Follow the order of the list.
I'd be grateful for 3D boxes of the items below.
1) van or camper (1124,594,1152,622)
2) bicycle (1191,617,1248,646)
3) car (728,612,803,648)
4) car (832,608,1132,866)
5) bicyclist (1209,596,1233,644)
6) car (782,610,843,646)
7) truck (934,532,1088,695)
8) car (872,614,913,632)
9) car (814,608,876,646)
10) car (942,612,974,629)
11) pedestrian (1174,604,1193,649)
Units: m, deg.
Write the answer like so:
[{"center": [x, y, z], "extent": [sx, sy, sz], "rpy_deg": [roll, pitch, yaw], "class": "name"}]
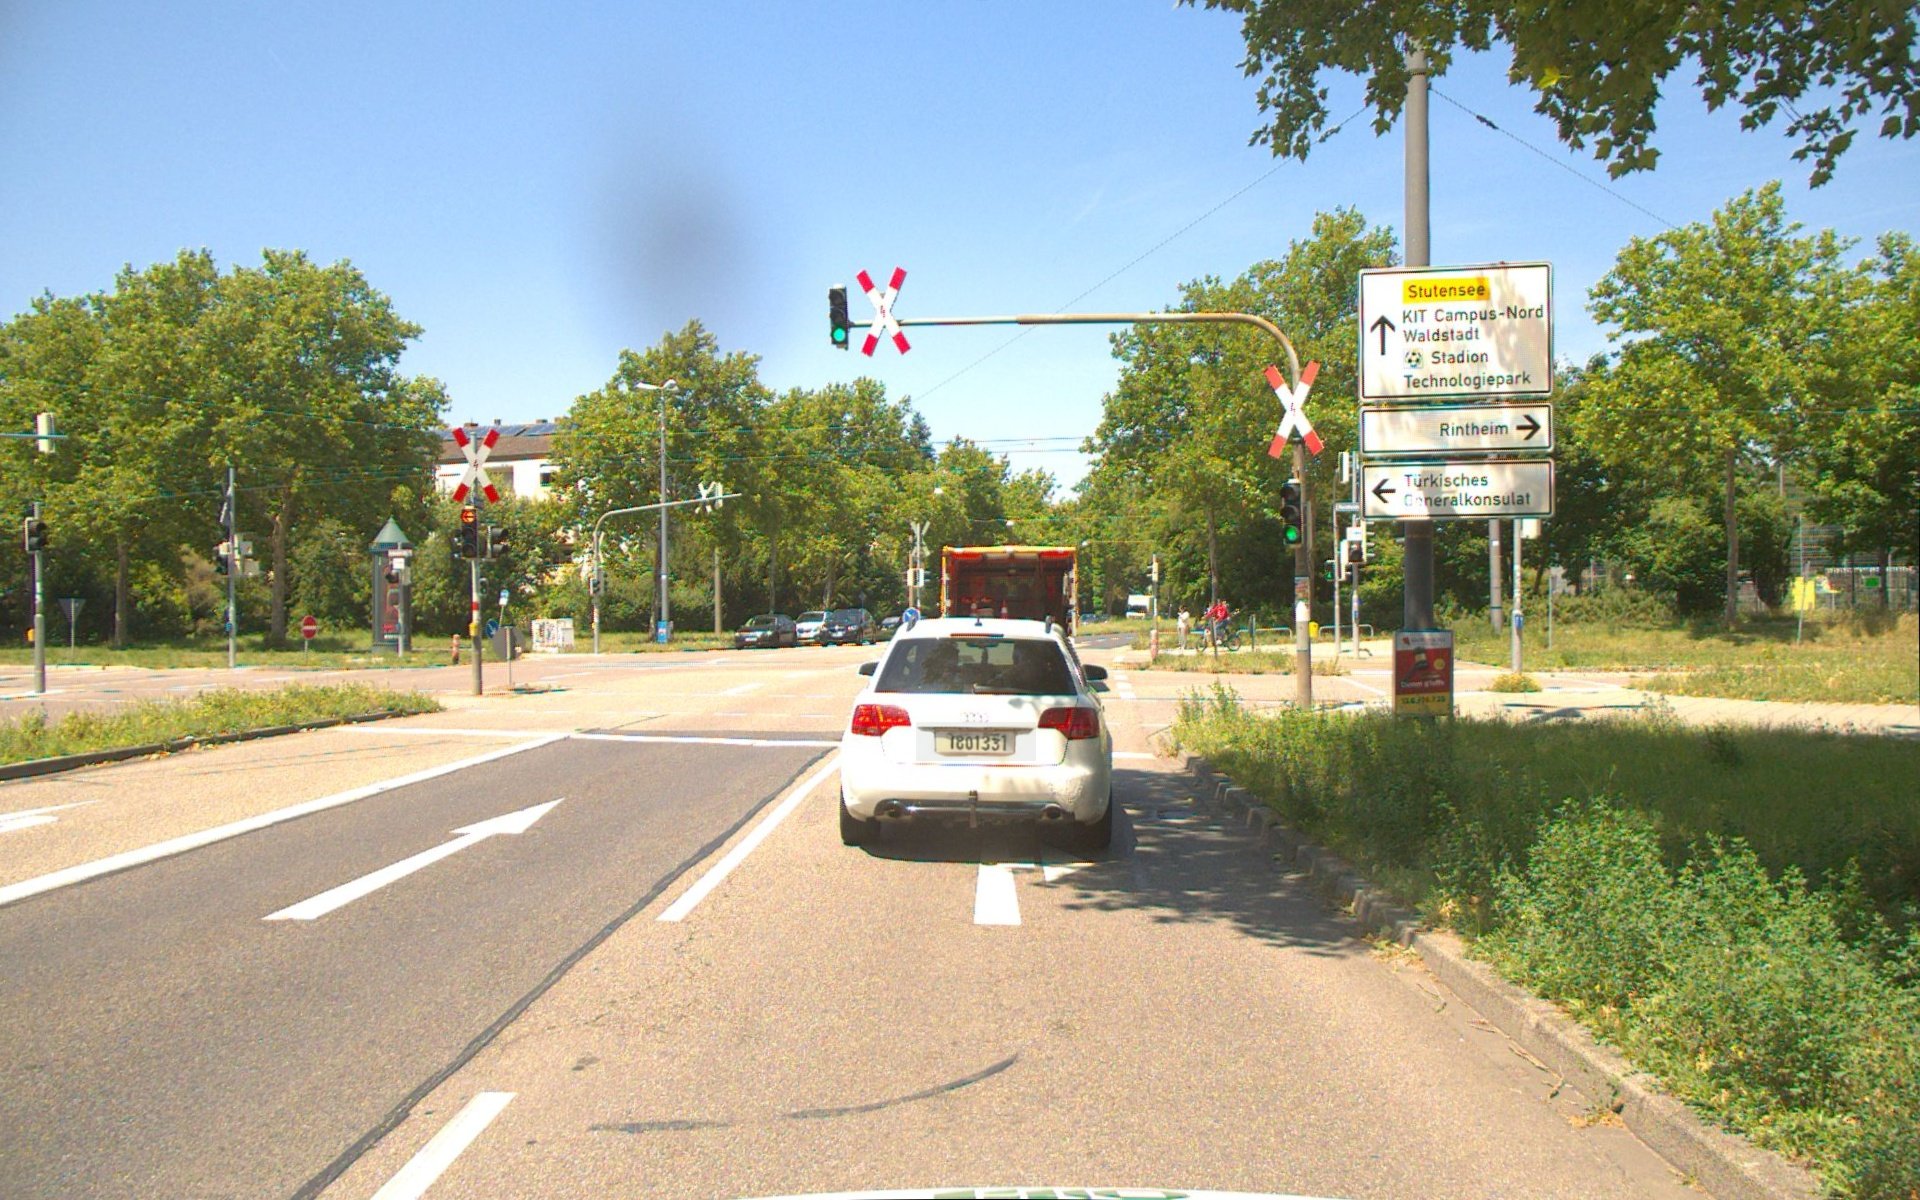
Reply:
[{"center": [21.410, 0.972, 198.953], "extent": [2.604, 3.390, 5.504], "rpy_deg": [-1, -1, 13], "class": "van or camper"}, {"center": [8.576, 1.048, 54.667], "extent": [1.769, 0.911, 0.588], "rpy_deg": [-1, -1, -2], "class": "bicycle"}, {"center": [-8.453, 1.301, 72.302], "extent": [1.907, 1.465, 4.750], "rpy_deg": [0, 0, 11], "class": "car"}, {"center": [0.214, 0.795, 11.354], "extent": [1.726, 1.471, 3.617], "rpy_deg": [0, 0, 3], "class": "car"}, {"center": [8.635, 0.663, 54.675], "extent": [0.658, 1.583, 0.579], "rpy_deg": [-1, -1, -3], "class": "bicyclist"}, {"center": [-7.028, 1.338, 79.319], "extent": [1.749, 1.643, 4.408], "rpy_deg": [-1, 0, 11], "class": "car"}, {"center": [0.887, 0.262, 30.599], "extent": [2.459, 2.604, 7.603], "rpy_deg": [1, -1, 1], "class": "truck"}, {"center": [-5.603, 1.903, 137.693], "extent": [1.844, 1.417, 3.997], "rpy_deg": [-1, -1, 25], "class": "car"}, {"center": [-5.027, 1.178, 72.747], "extent": [1.868, 1.566, 4.302], "rpy_deg": [-1, 0, 7], "class": "car"}, {"center": [-0.157, 1.917, 152.611], "extent": [1.842, 1.500, 4.001], "rpy_deg": [-1, -1, 18], "class": "car"}, {"center": [7.721, 0.914, 57.182], "extent": [0.541, 1.510, 0.630], "rpy_deg": [-1, -1, 15], "class": "pedestrian"}]
